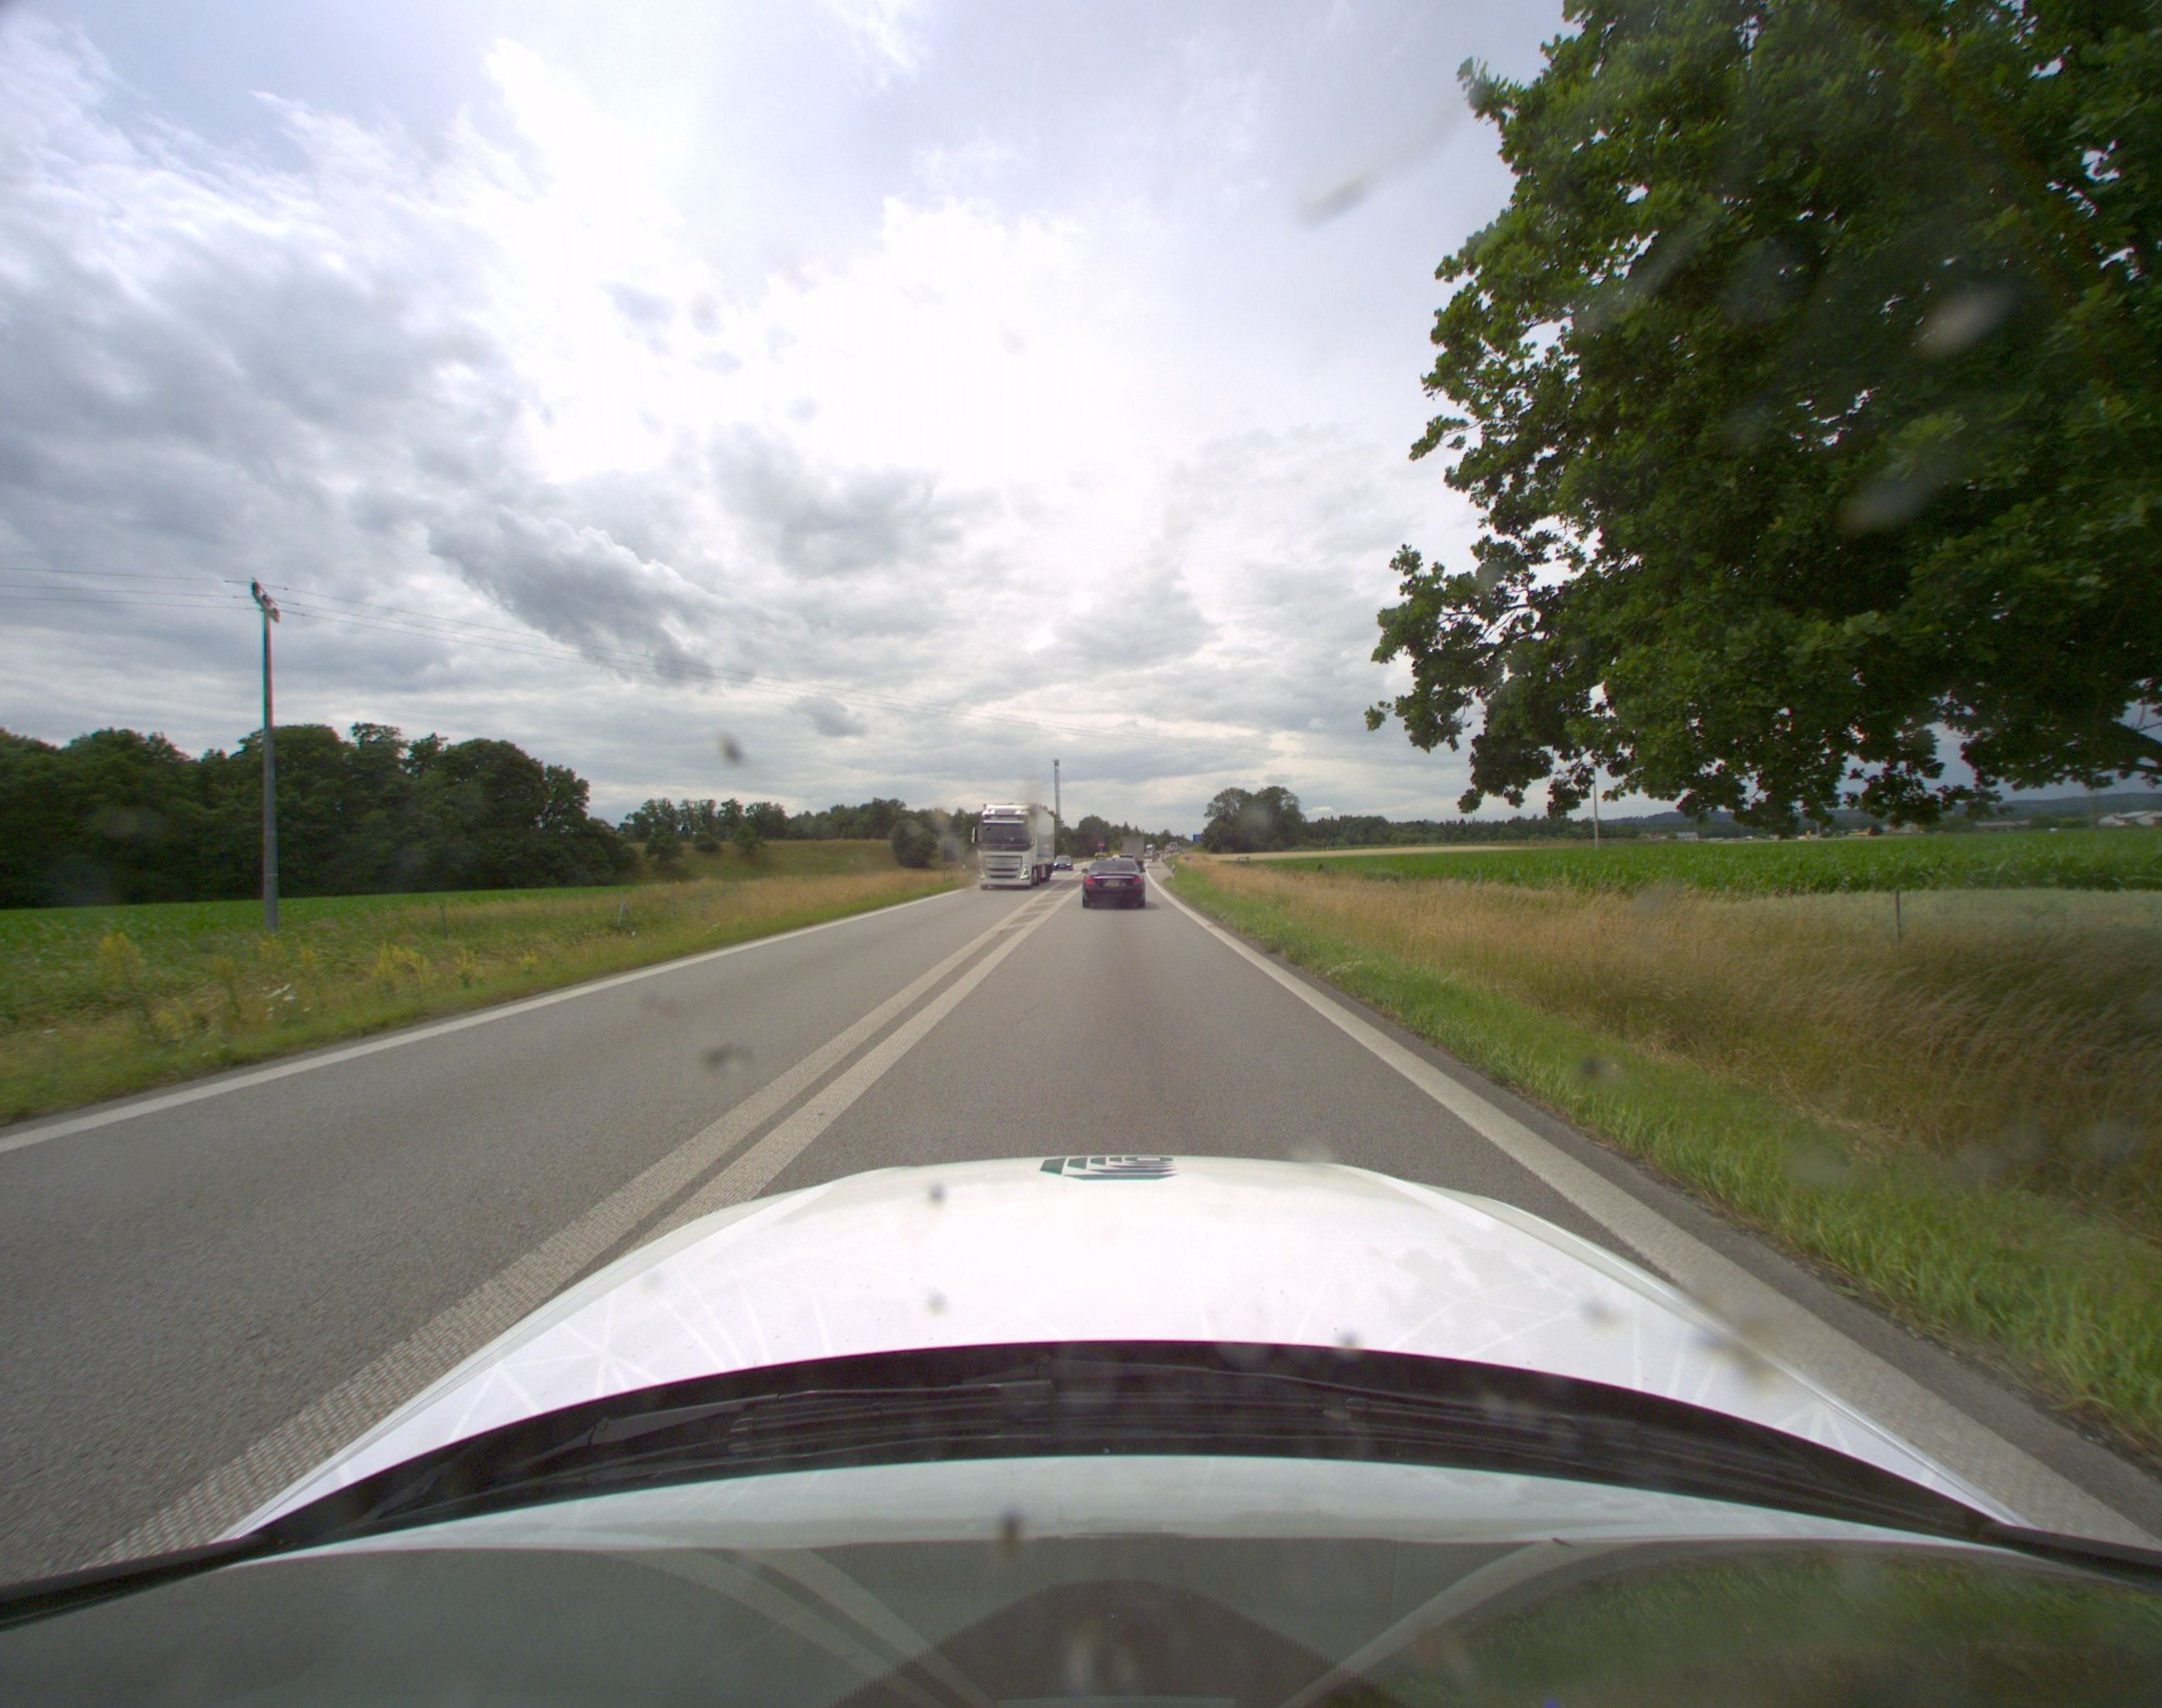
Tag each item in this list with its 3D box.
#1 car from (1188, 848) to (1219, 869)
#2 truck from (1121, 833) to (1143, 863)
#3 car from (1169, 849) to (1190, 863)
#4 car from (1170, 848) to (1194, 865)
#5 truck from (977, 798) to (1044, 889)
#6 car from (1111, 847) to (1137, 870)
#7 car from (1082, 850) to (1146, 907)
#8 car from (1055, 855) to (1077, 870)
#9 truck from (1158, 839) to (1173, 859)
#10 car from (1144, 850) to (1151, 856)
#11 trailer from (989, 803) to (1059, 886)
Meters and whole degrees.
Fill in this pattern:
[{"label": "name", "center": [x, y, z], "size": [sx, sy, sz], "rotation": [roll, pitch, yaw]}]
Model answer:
[{"label": "car", "center": [9.815, 0.383, 65.641], "size": [1.791, 1.662, 3.996], "rotation": [0, 0, -2]}, {"label": "truck", "center": [6.150, -0.644, 97.580], "size": [2.574, 3.524, 4.819], "rotation": [0, 0, 5]}, {"label": "car", "center": [11.316, 0.222, 94.032], "size": [1.791, 1.662, 3.996], "rotation": [0, 0, -2]}, {"label": "car", "center": [10.063, 0.246, 81.366], "size": [1.791, 1.662, 3.996], "rotation": [0, 0, -2]}, {"label": "truck", "center": [-3.266, -0.487, 38.893], "size": [2.480, 3.995, 5.207], "rotation": [-1, 0, 2]}, {"label": "car", "center": [3.849, 0.423, 72.998], "size": [1.988, 2.014, 3.996], "rotation": [0, 0, -2]}, {"label": "car", "center": [1.076, 0.692, 24.736], "size": [1.787, 1.560, 4.005], "rotation": [0, 0, 5]}, {"label": "car", "center": [-1.505, 0.811, 81.366], "size": [1.850, 1.479, 5.201], "rotation": [0, 0, 3]}, {"label": "truck", "center": [15.288, -0.946, 147.541], "size": [1.988, 3.525, 4.588], "rotation": [0, 0, -2]}, {"label": "car", "center": [17.078, -0.301, 210.225], "size": [1.642, 1.395, 3.708], "rotation": [0, 0, 2]}, {"label": "trailer", "center": [-2.987, -0.518, 46.353], "size": [2.480, 3.995, 13.083], "rotation": [-1, 0, 2]}]
